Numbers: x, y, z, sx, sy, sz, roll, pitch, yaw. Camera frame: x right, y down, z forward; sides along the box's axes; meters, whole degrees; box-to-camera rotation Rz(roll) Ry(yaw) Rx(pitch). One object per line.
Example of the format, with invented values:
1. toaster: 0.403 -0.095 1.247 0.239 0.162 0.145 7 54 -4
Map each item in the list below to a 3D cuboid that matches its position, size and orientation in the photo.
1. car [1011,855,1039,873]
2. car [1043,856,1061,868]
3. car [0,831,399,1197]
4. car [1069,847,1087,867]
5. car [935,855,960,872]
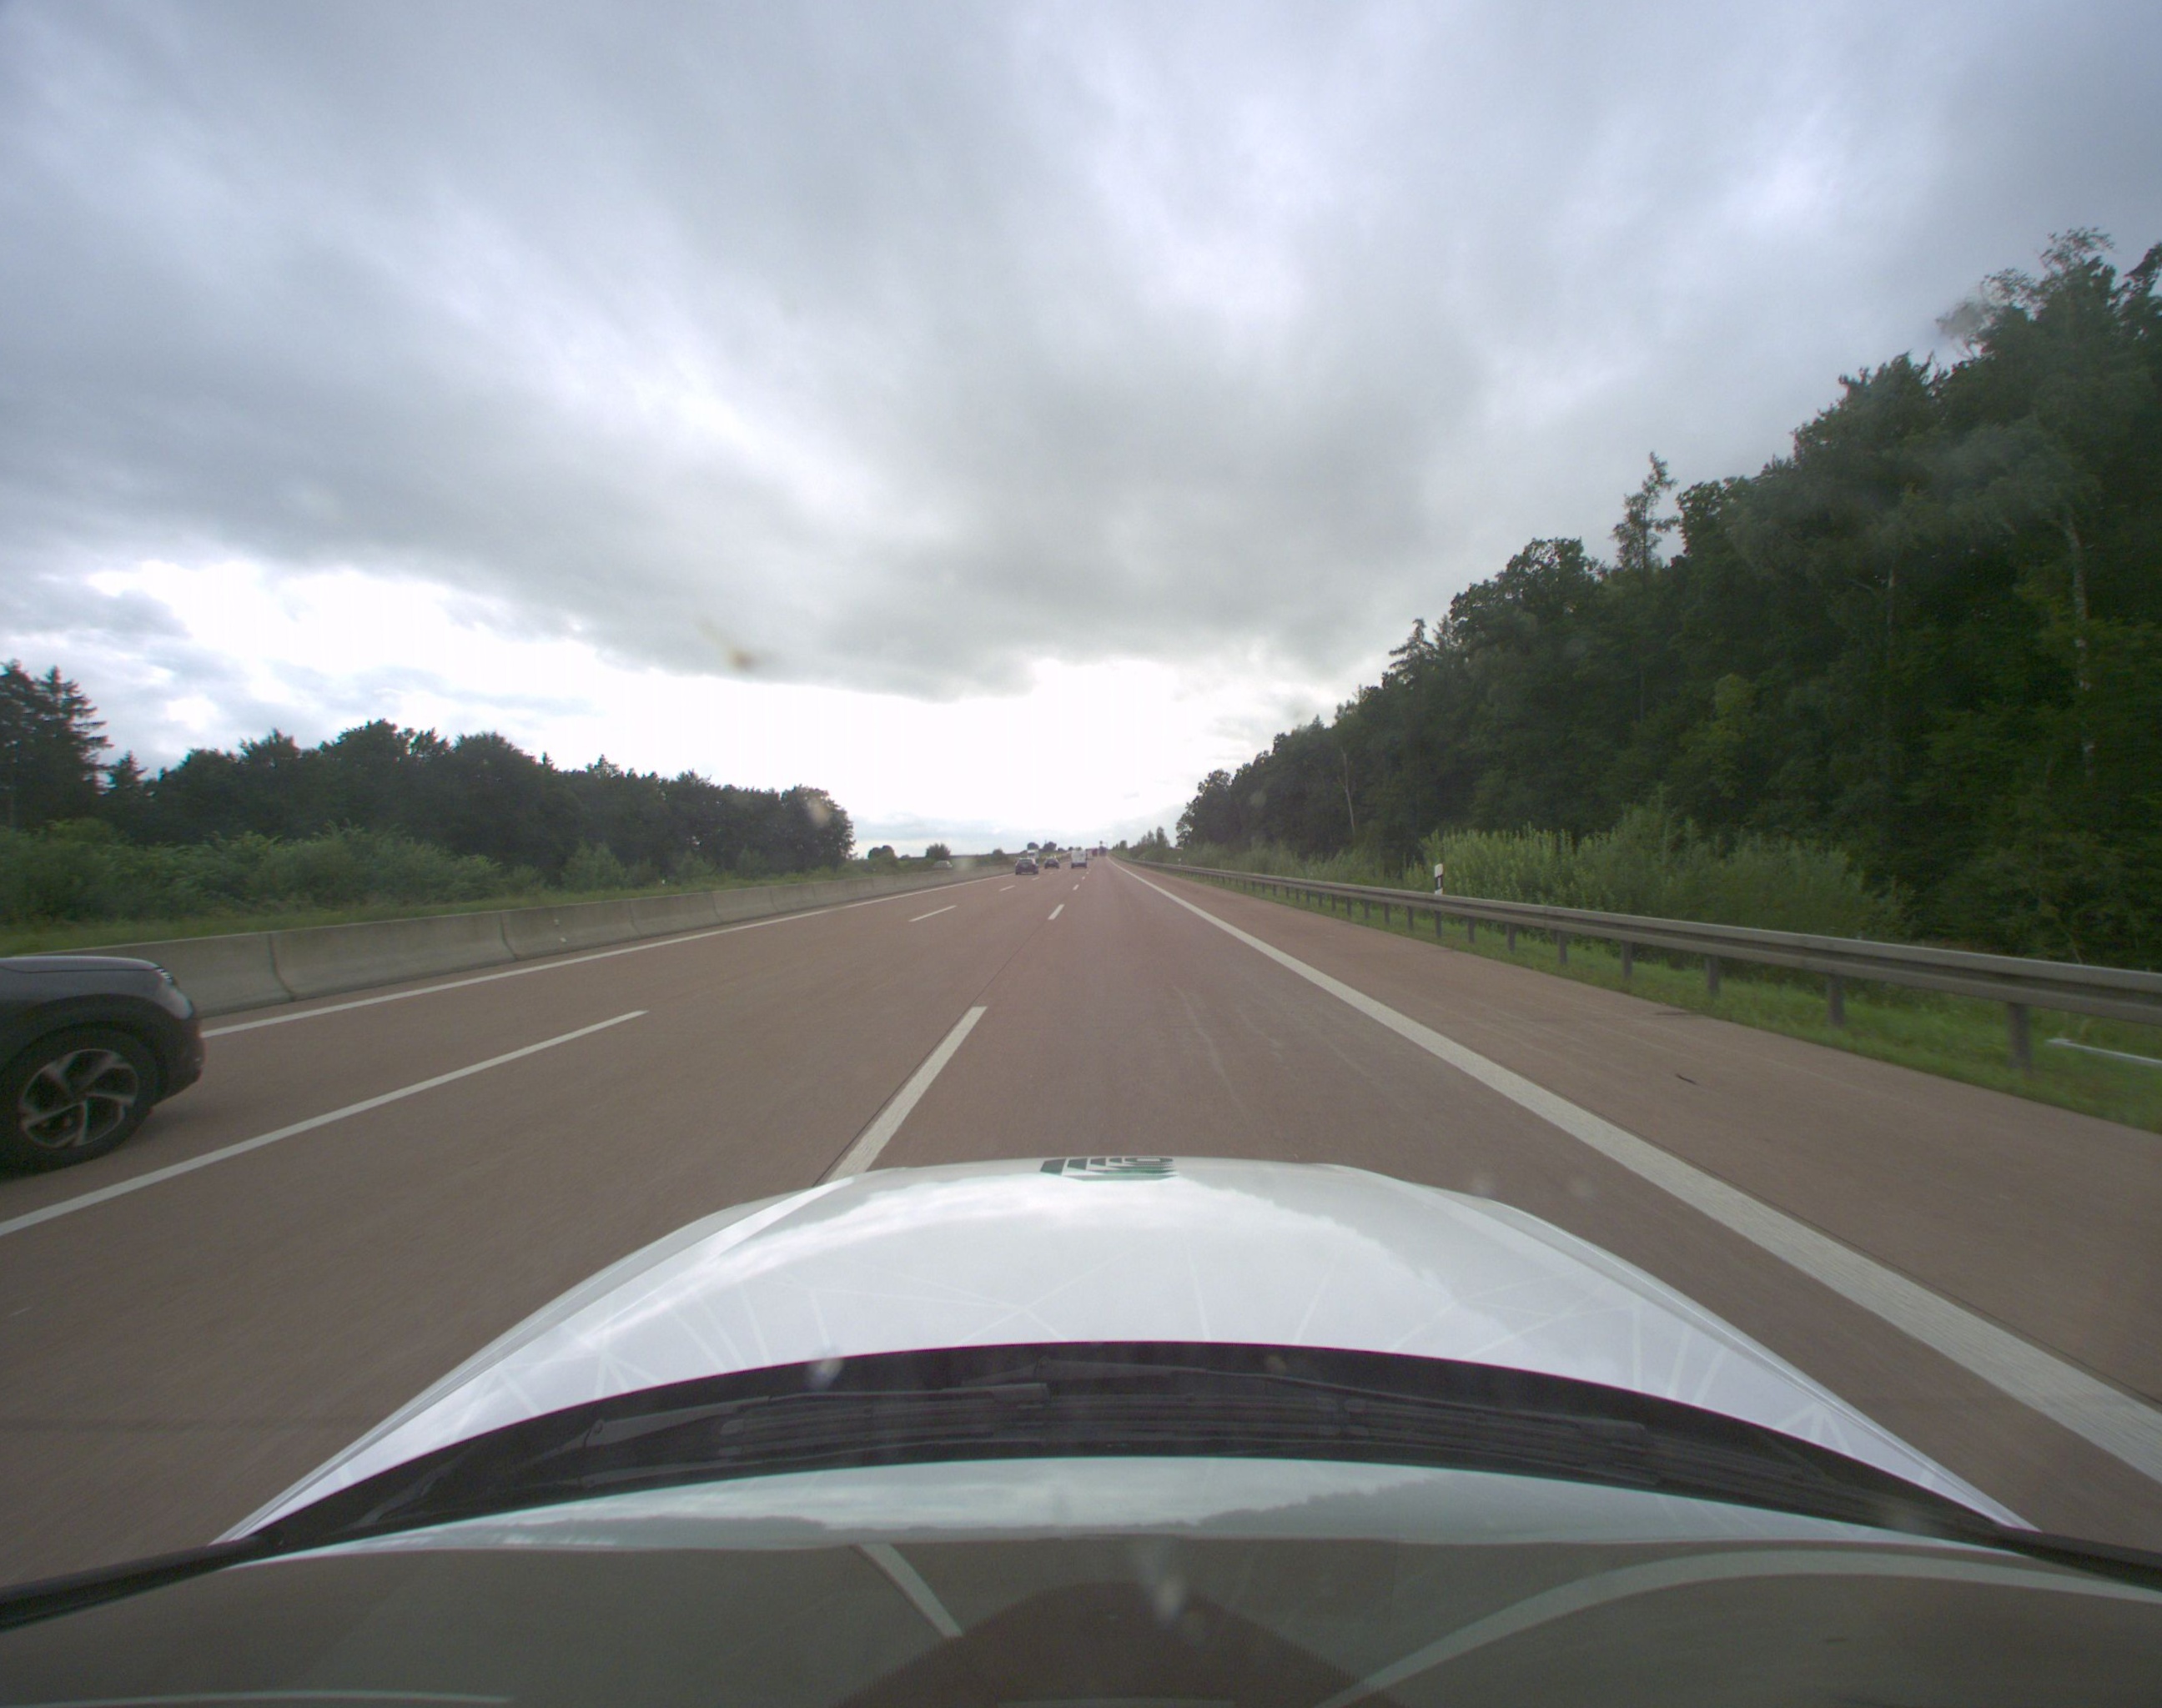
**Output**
1. car: -5.116 0.901 75.186 2.051 1.491 5.455 -1 0 2
2. car: -3.964 1.031 111.304 2.077 1.550 5.677 0 0 2
3. car: -6.042 0.756 3.308 1.986 1.699 5.254 -1 0 2
4. car: -0.334 0.322 109.528 2.129 2.507 7.135 -1 0 2
5. car: -15.095 1.079 92.404 1.986 1.764 4.001 5 0 2
